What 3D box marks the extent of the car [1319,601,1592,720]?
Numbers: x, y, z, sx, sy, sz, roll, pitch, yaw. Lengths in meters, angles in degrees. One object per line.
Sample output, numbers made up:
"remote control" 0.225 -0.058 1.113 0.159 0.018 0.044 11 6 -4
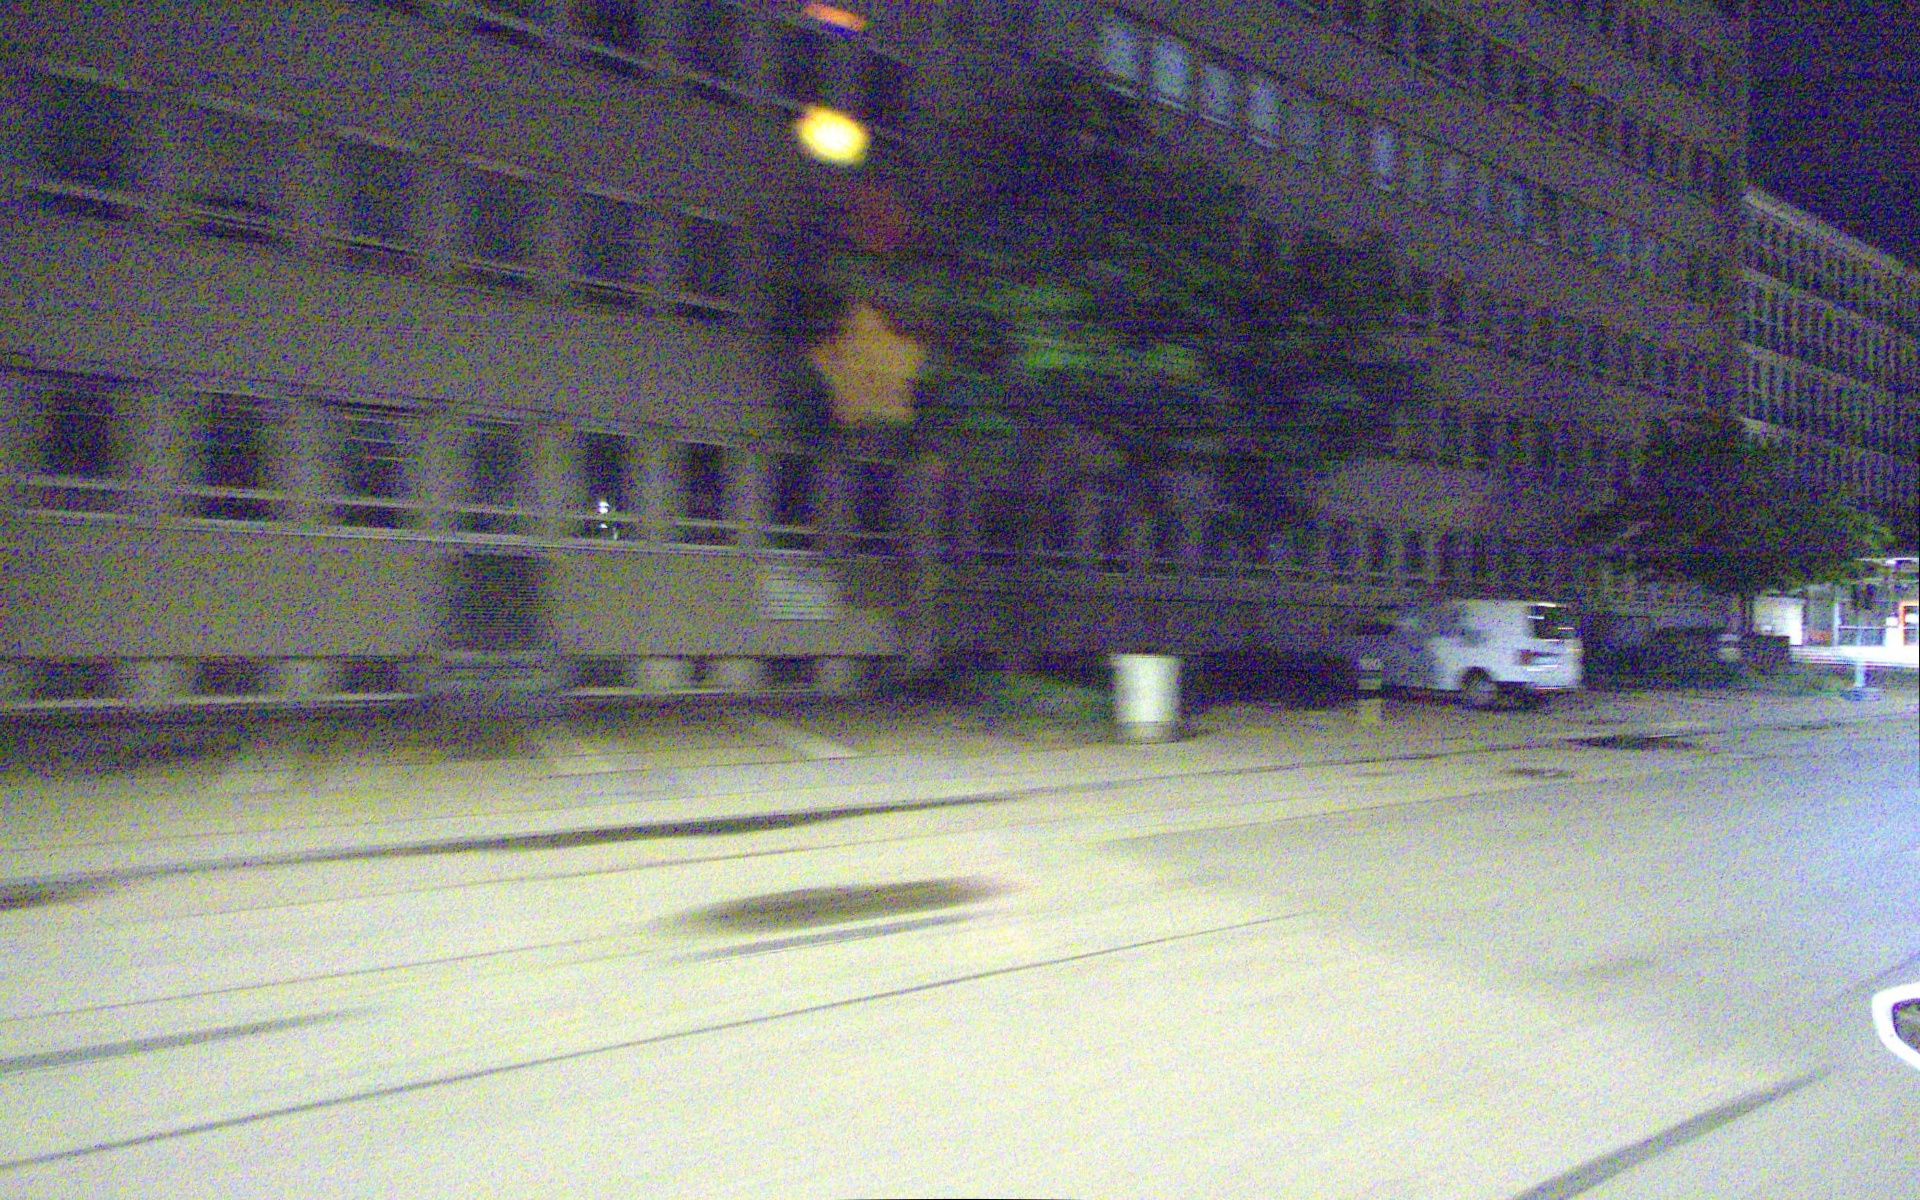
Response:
"car" 9.451 1.054 19.538 1.976 1.998 4.411 1 0 -30
